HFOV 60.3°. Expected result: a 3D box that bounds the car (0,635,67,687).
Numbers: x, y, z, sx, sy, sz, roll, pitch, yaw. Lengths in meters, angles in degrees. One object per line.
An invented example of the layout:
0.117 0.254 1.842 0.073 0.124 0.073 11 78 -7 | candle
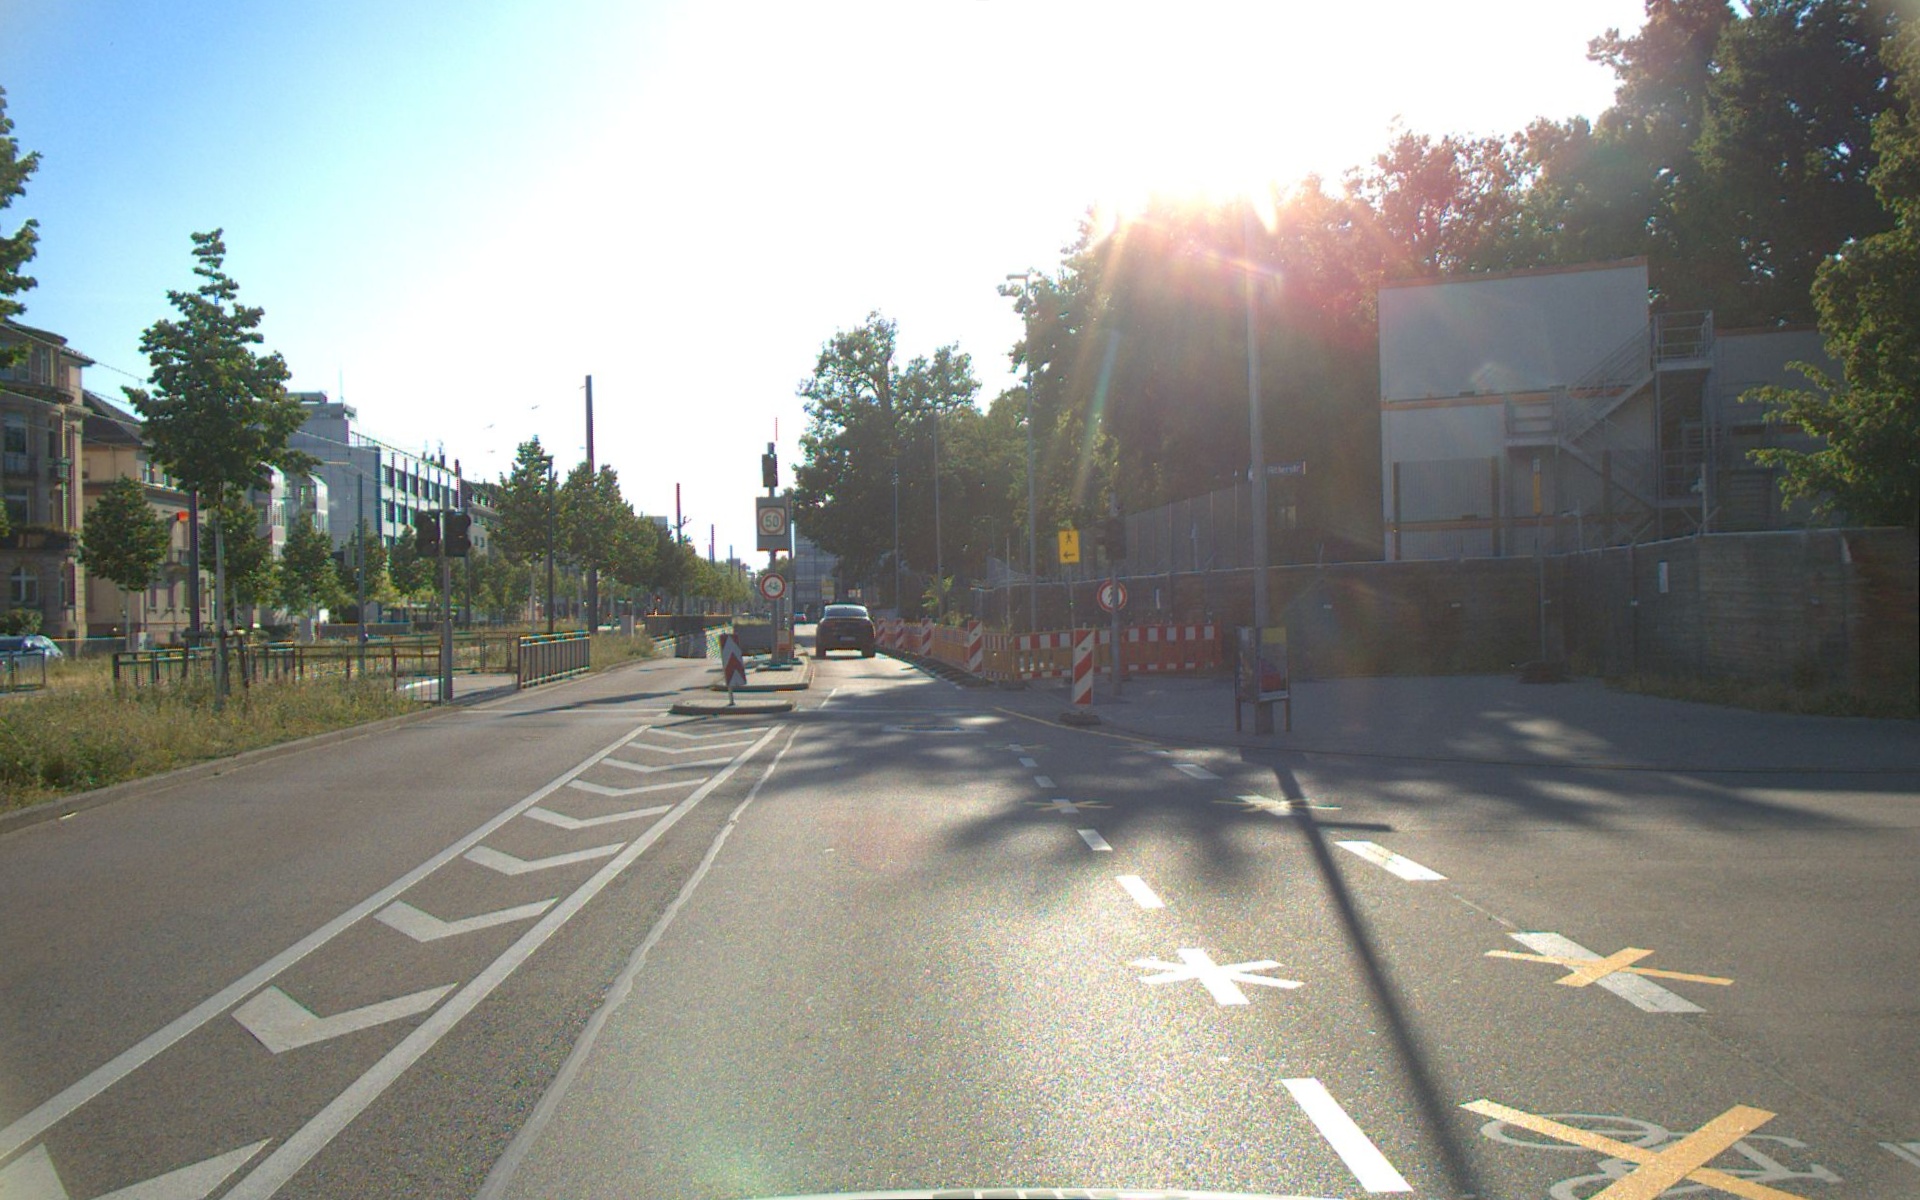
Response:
-29.514 1.865 51.096 1.742 1.489 4.656 -1 0 -6 | car

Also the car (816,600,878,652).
-3.875 0.873 56.159 1.966 1.688 3.995 1 -1 -6 | car
